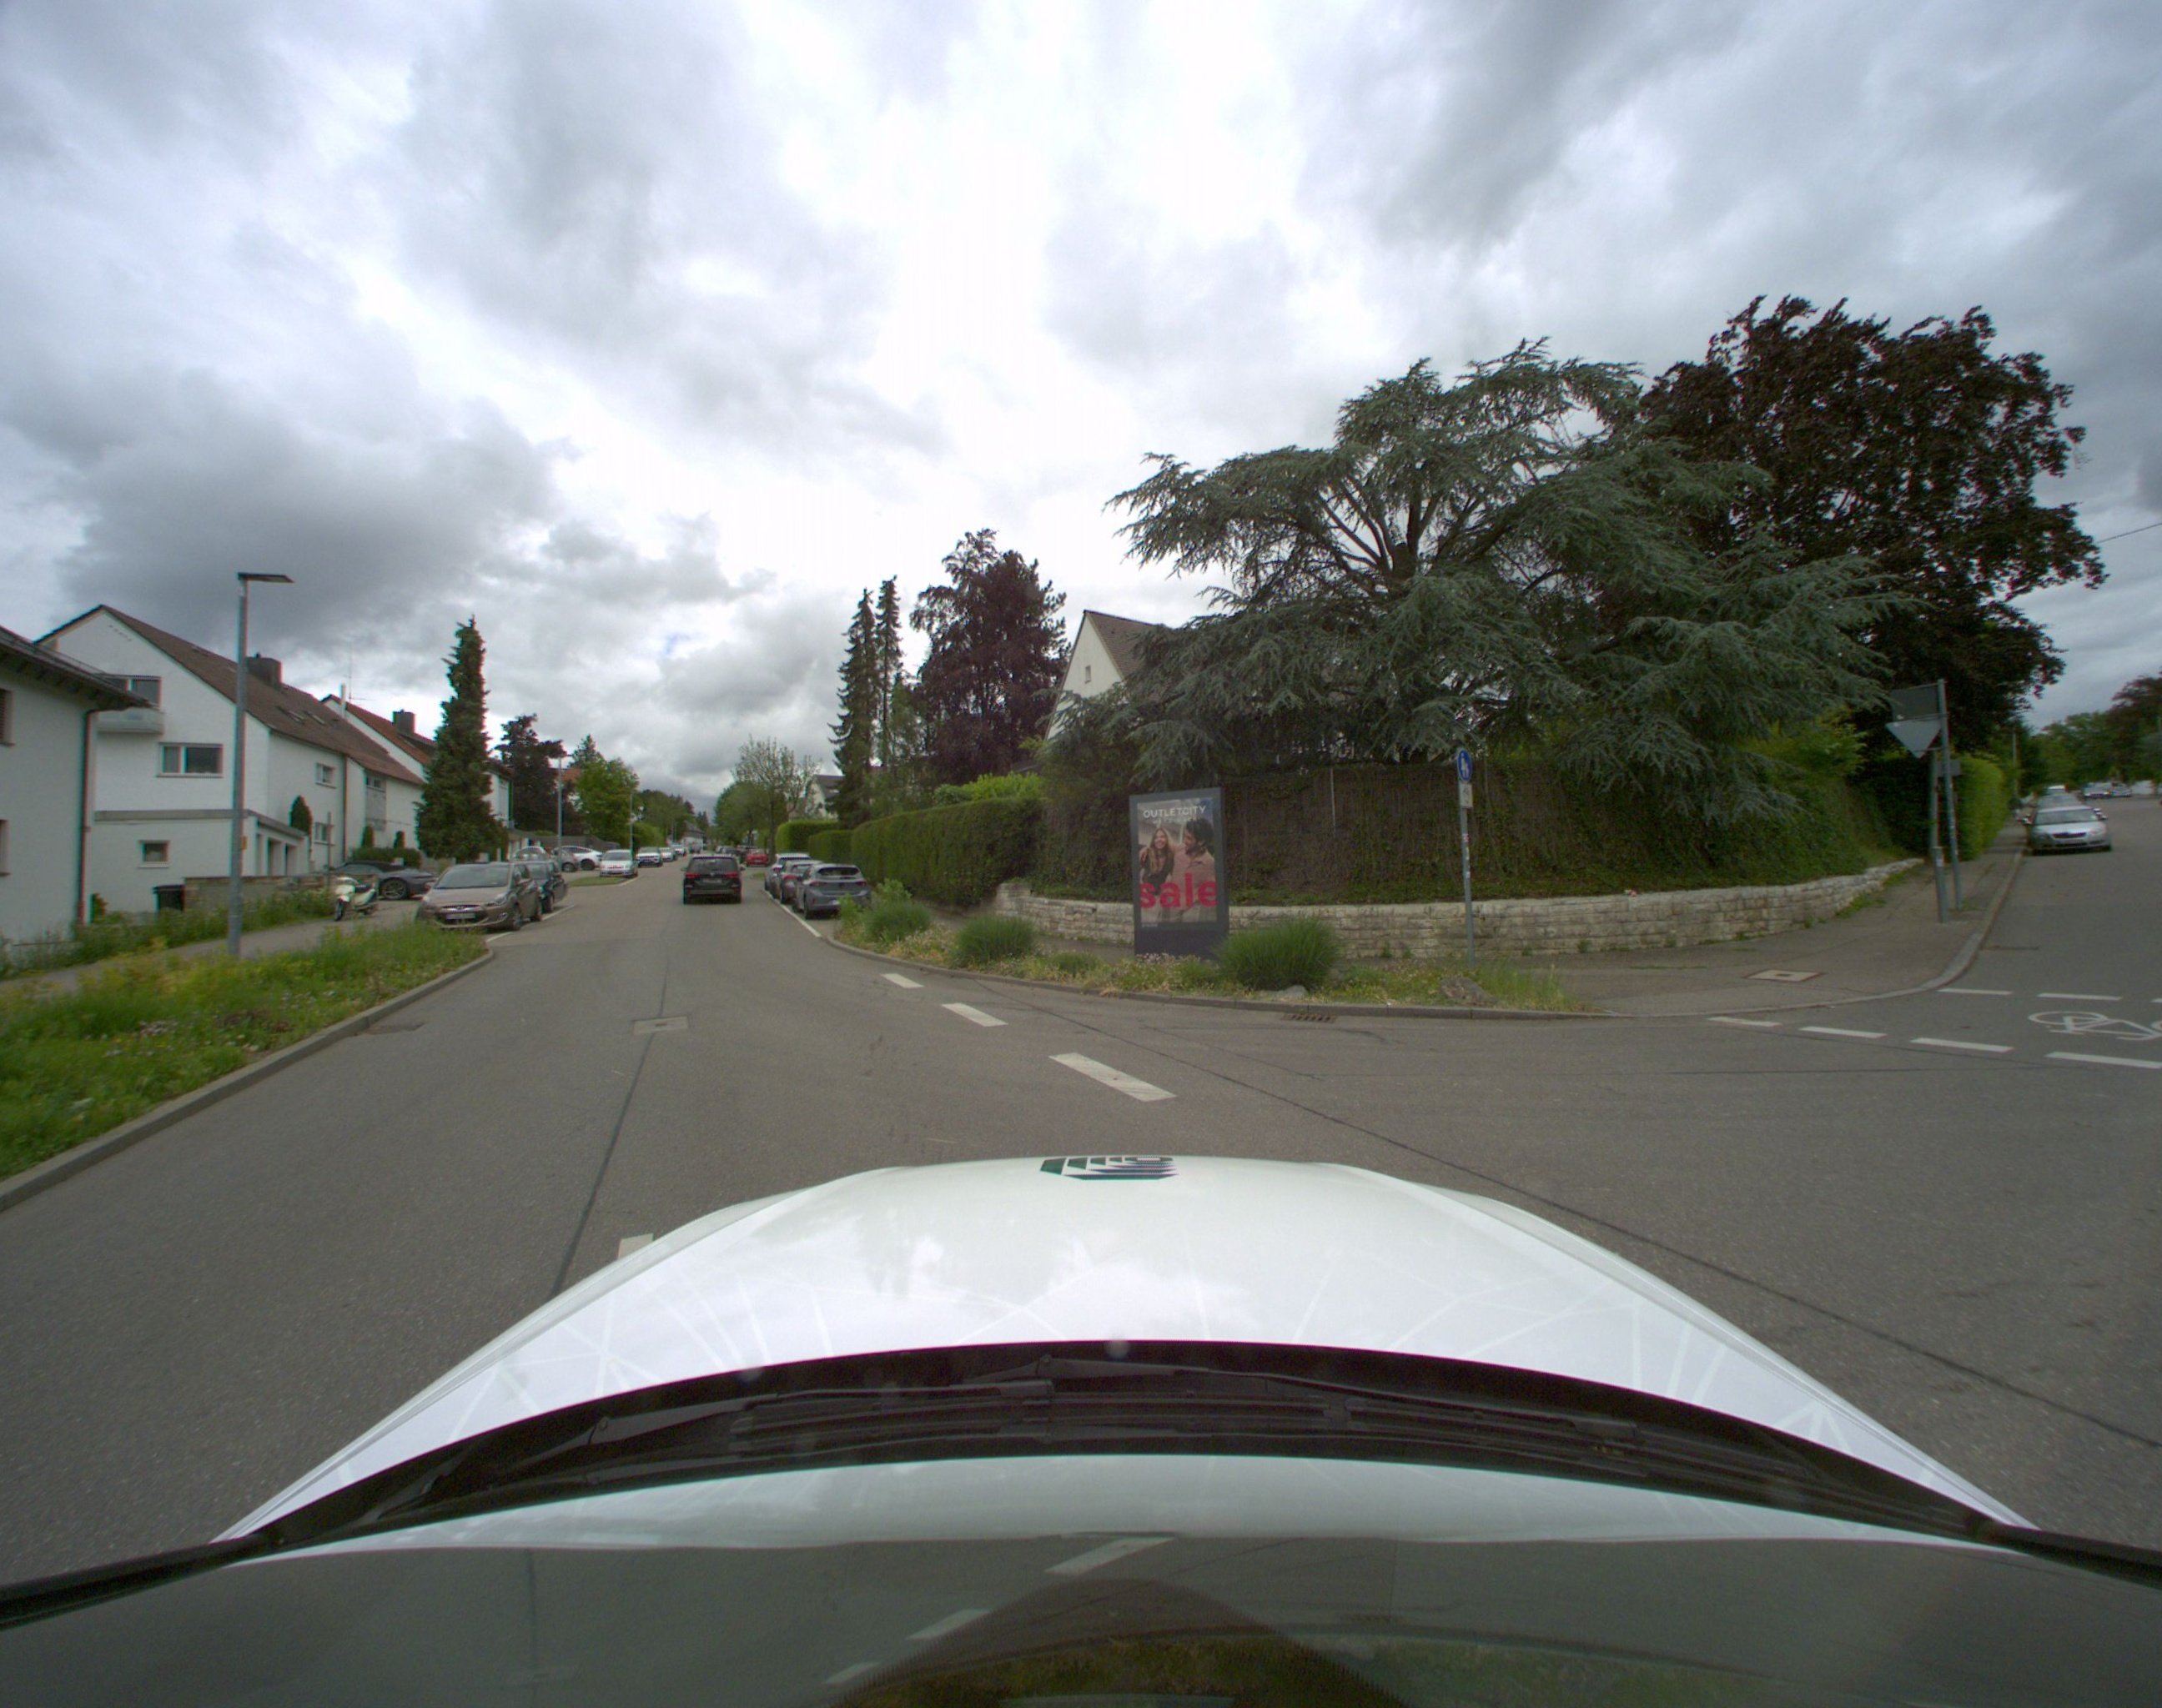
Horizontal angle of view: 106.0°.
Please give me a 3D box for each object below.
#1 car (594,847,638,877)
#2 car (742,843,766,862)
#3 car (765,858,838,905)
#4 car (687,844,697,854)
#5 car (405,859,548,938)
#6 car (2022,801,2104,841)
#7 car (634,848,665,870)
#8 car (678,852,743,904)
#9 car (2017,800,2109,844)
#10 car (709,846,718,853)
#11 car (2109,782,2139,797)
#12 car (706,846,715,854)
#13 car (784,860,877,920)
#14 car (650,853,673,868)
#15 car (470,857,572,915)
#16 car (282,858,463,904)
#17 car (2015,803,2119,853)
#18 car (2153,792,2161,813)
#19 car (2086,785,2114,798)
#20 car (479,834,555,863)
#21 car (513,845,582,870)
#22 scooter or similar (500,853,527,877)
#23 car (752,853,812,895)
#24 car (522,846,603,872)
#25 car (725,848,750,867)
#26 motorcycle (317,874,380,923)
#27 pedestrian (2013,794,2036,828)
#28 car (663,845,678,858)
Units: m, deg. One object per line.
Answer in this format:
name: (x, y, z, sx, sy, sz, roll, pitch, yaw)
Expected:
car: (-26.319, 0.439, 46.208, 1.769, 1.562, 3.824, -2, 1, -25)
car: (-26.989, -0.131, 67.097, 1.669, 1.508, 3.728, 0, 1, -24)
car: (-9.722, 0.880, 28.171, 1.865, 1.464, 4.136, 0, 0, -26)
car: (-79.914, -1.032, 167.329, 1.894, 1.850, 4.365, -1, 1, -25)
car: (-14.088, 0.950, 19.230, 1.886, 1.585, 3.841, -1, 1, -24)
car: (40.730, -1.380, 33.869, 4.022, 1.442, 1.929, -3, -1, -42)
car: (-34.919, 0.392, 65.983, 1.846, 1.666, 4.374, -2, 2, -24)
car: (-12.594, 0.751, 27.806, 1.856, 1.611, 4.277, 0, 0, -24)
car: (36.530, -1.189, 30.391, 4.022, 1.442, 1.929, -3, -1, -42)
car: (-88.088, -1.159, 195.022, 1.653, 1.668, 3.436, 0, 1, -29)
car: (137.397, -8.460, 107.295, 4.220, 1.796, 1.922, -3, 1, -44)
car: (-79.483, -0.847, 174.733, 1.675, 1.500, 3.436, 0, 1, -29)
car: (-7.102, 0.927, 22.817, 1.865, 1.464, 3.966, 0, 0, -26)
car: (-42.689, 0.626, 82.873, 1.846, 1.422, 4.372, -2, 2, -25)
car: (-16.603, 0.887, 24.321, 1.886, 1.536, 3.479, -1, 1, -24)
car: (-23.685, 0.863, 27.475, 4.313, 1.367, 1.886, -1, 1, -30)
car: (32.597, -0.882, 27.035, 4.022, 1.442, 1.929, -3, -1, -42)
car: (77.341, -3.672, 57.535, 3.493, 1.413, 1.594, -3, 1, -43)
car: (113.994, -6.984, 91.103, 3.802, 1.335, 1.641, -3, 1, -43)
car: (-33.982, -0.307, 49.152, 3.444, 1.578, 1.644, 2, -1, -24)
car: (-34.281, 0.255, 52.414, 3.444, 1.512, 1.679, 2, -1, -24)
scooter or similar: (-28.029, 0.537, 40.259, 0.474, 1.148, 1.450, 2, 0, -8)
car: (-12.264, 0.758, 33.268, 1.865, 1.582, 4.136, 0, 0, -26)
car: (-35.525, 0.338, 55.928, 4.433, 1.629, 1.895, 2, -1, -26)
car: (-31.895, 0.301, 75.619, 2.002, 1.618, 4.478, 2, 0, -24)
motorcycle: (-18.934, 1.118, 21.091, 0.430, 1.161, 1.852, -2, 0, -17)
pedestrian: (58.829, -2.675, 50.788, 0.845, 2.013, 0.878, -1, 1, 44)
car: (-52.946, -0.295, 105.015, 1.732, 1.540, 3.965, -2, 2, -27)
